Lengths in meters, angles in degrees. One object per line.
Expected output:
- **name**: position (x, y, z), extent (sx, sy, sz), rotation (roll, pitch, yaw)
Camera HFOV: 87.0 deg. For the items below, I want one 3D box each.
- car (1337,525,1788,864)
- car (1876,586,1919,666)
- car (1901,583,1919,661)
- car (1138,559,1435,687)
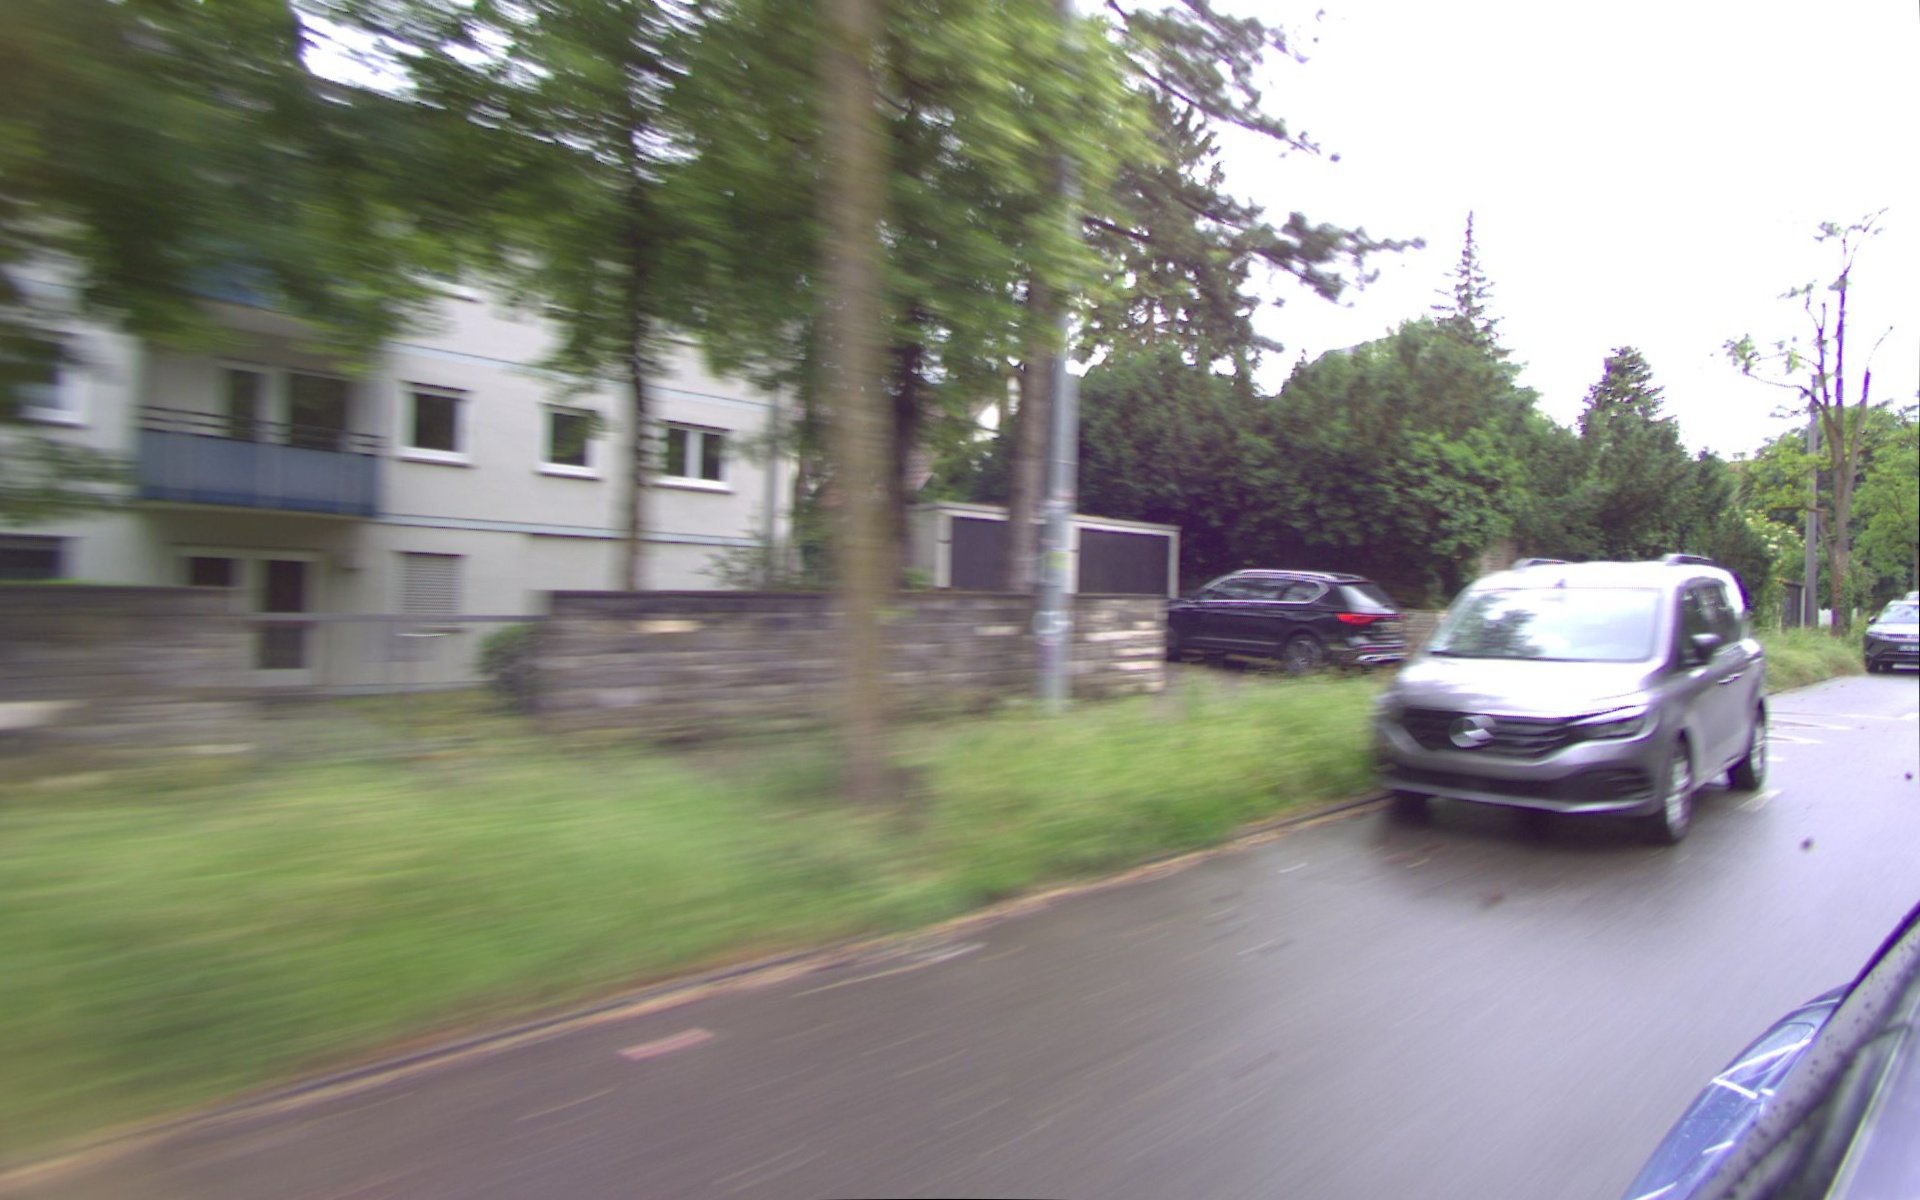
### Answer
- **car**: position (4.697, 0.541, 7.608), extent (4.210, 1.836, 1.816), rotation (1, -1, -43)
- **car**: position (22.499, 0.588, 23.159), extent (4.250, 1.745, 1.776), rotation (1, -1, -41)
- **car**: position (27.389, 0.608, 27.607), extent (4.801, 2.039, 1.997), rotation (1, -1, -41)
- **car**: position (5.326, 0.263, 16.993), extent (1.965, 1.702, 4.320), rotation (0, 4, -40)
